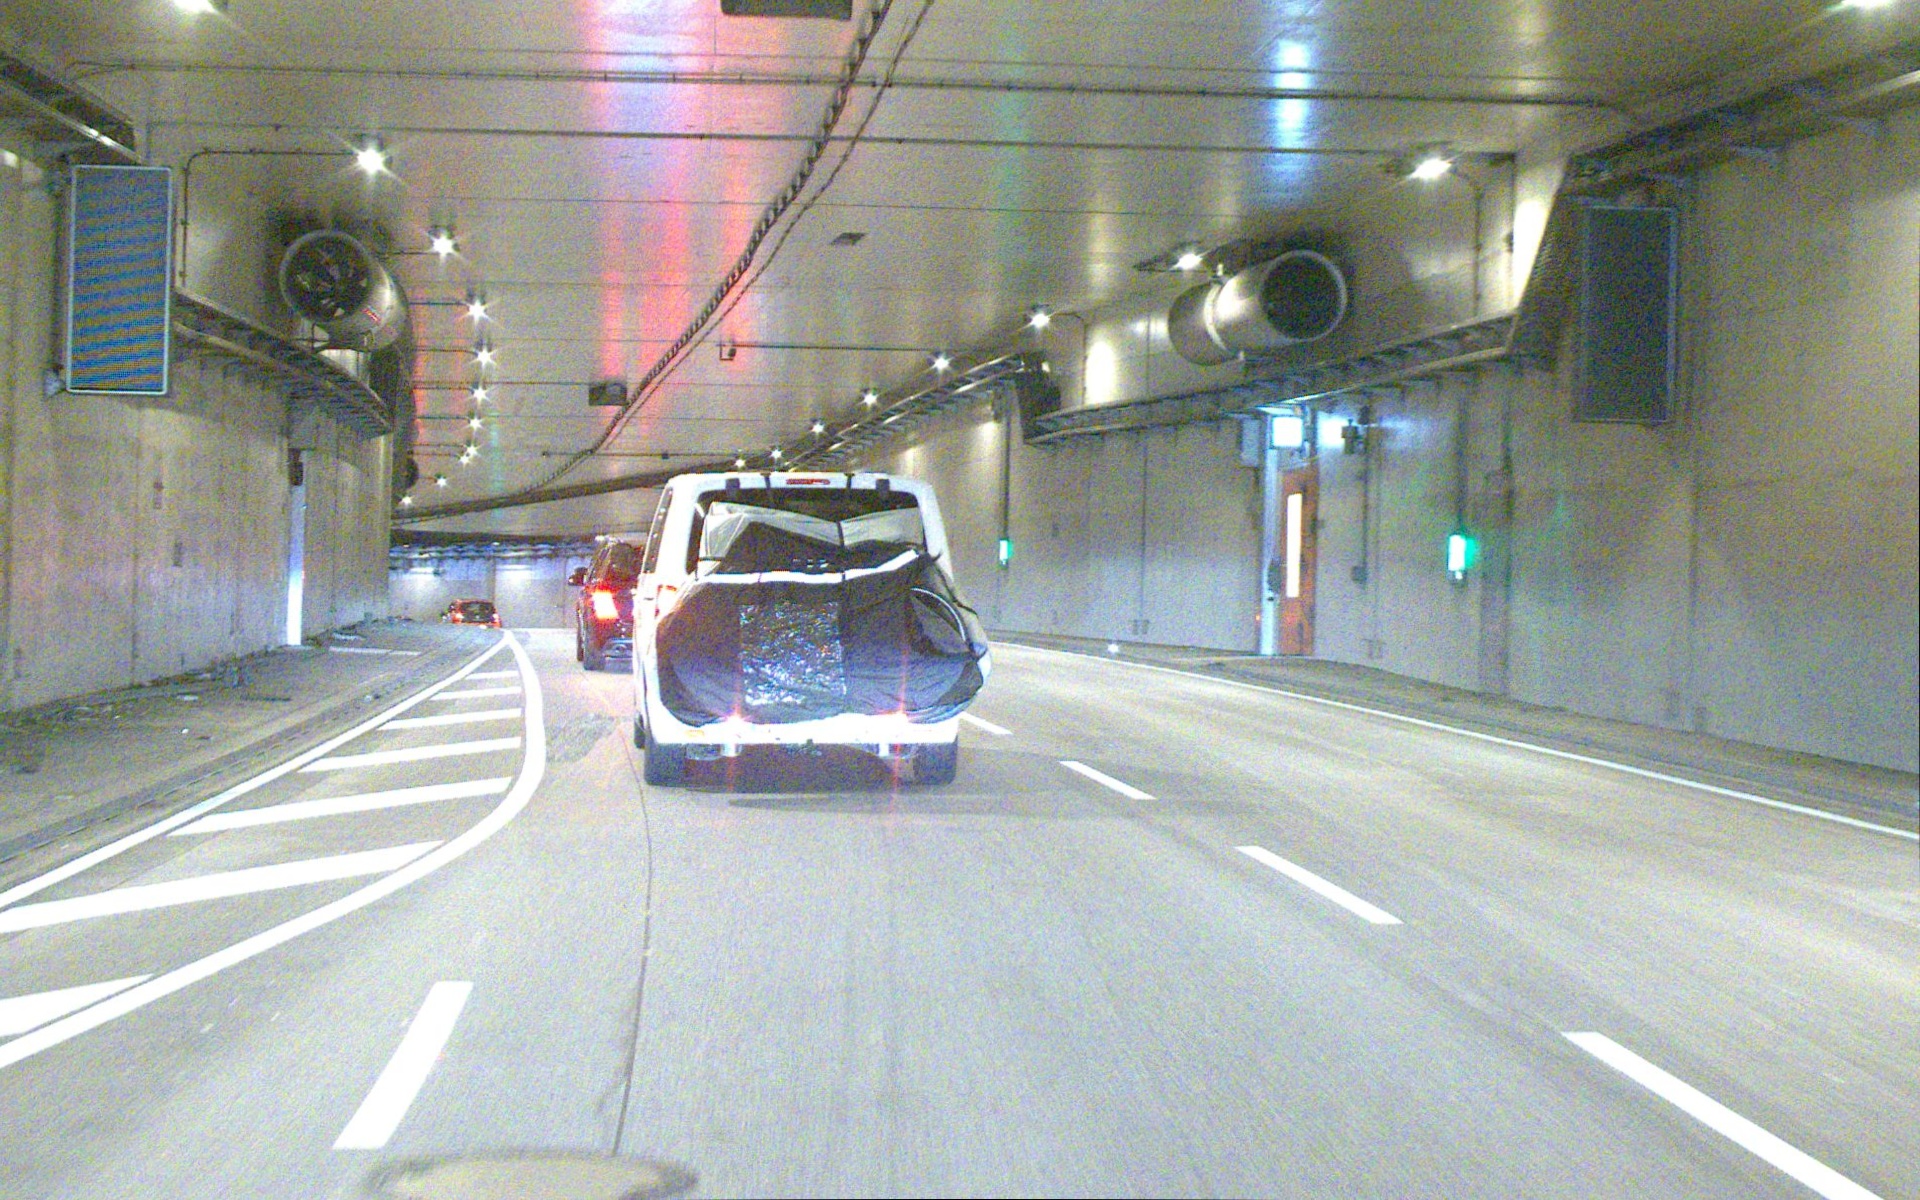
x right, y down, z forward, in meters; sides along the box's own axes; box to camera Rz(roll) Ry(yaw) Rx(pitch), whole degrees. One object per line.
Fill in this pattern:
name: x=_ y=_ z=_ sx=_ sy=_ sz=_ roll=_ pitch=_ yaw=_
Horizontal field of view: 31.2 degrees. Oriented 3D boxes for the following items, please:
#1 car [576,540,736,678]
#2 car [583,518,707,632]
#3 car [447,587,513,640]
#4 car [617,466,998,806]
car: x=-3.316 y=0.068 z=37.098 sx=1.602 sy=1.390 sz=3.278 roll=1 pitch=1 yaw=-6
car: x=-4.600 y=-0.363 z=49.889 sx=1.602 sy=1.588 sz=3.356 roll=0 pitch=0 yaw=-8
car: x=-15.665 y=0.459 z=112.107 sx=1.822 sy=1.625 sz=3.844 roll=3 pitch=-1 yaw=-11
car: x=-1.086 y=0.144 z=21.313 sx=1.993 sy=1.841 sz=5.302 roll=0 pitch=1 yaw=-6
